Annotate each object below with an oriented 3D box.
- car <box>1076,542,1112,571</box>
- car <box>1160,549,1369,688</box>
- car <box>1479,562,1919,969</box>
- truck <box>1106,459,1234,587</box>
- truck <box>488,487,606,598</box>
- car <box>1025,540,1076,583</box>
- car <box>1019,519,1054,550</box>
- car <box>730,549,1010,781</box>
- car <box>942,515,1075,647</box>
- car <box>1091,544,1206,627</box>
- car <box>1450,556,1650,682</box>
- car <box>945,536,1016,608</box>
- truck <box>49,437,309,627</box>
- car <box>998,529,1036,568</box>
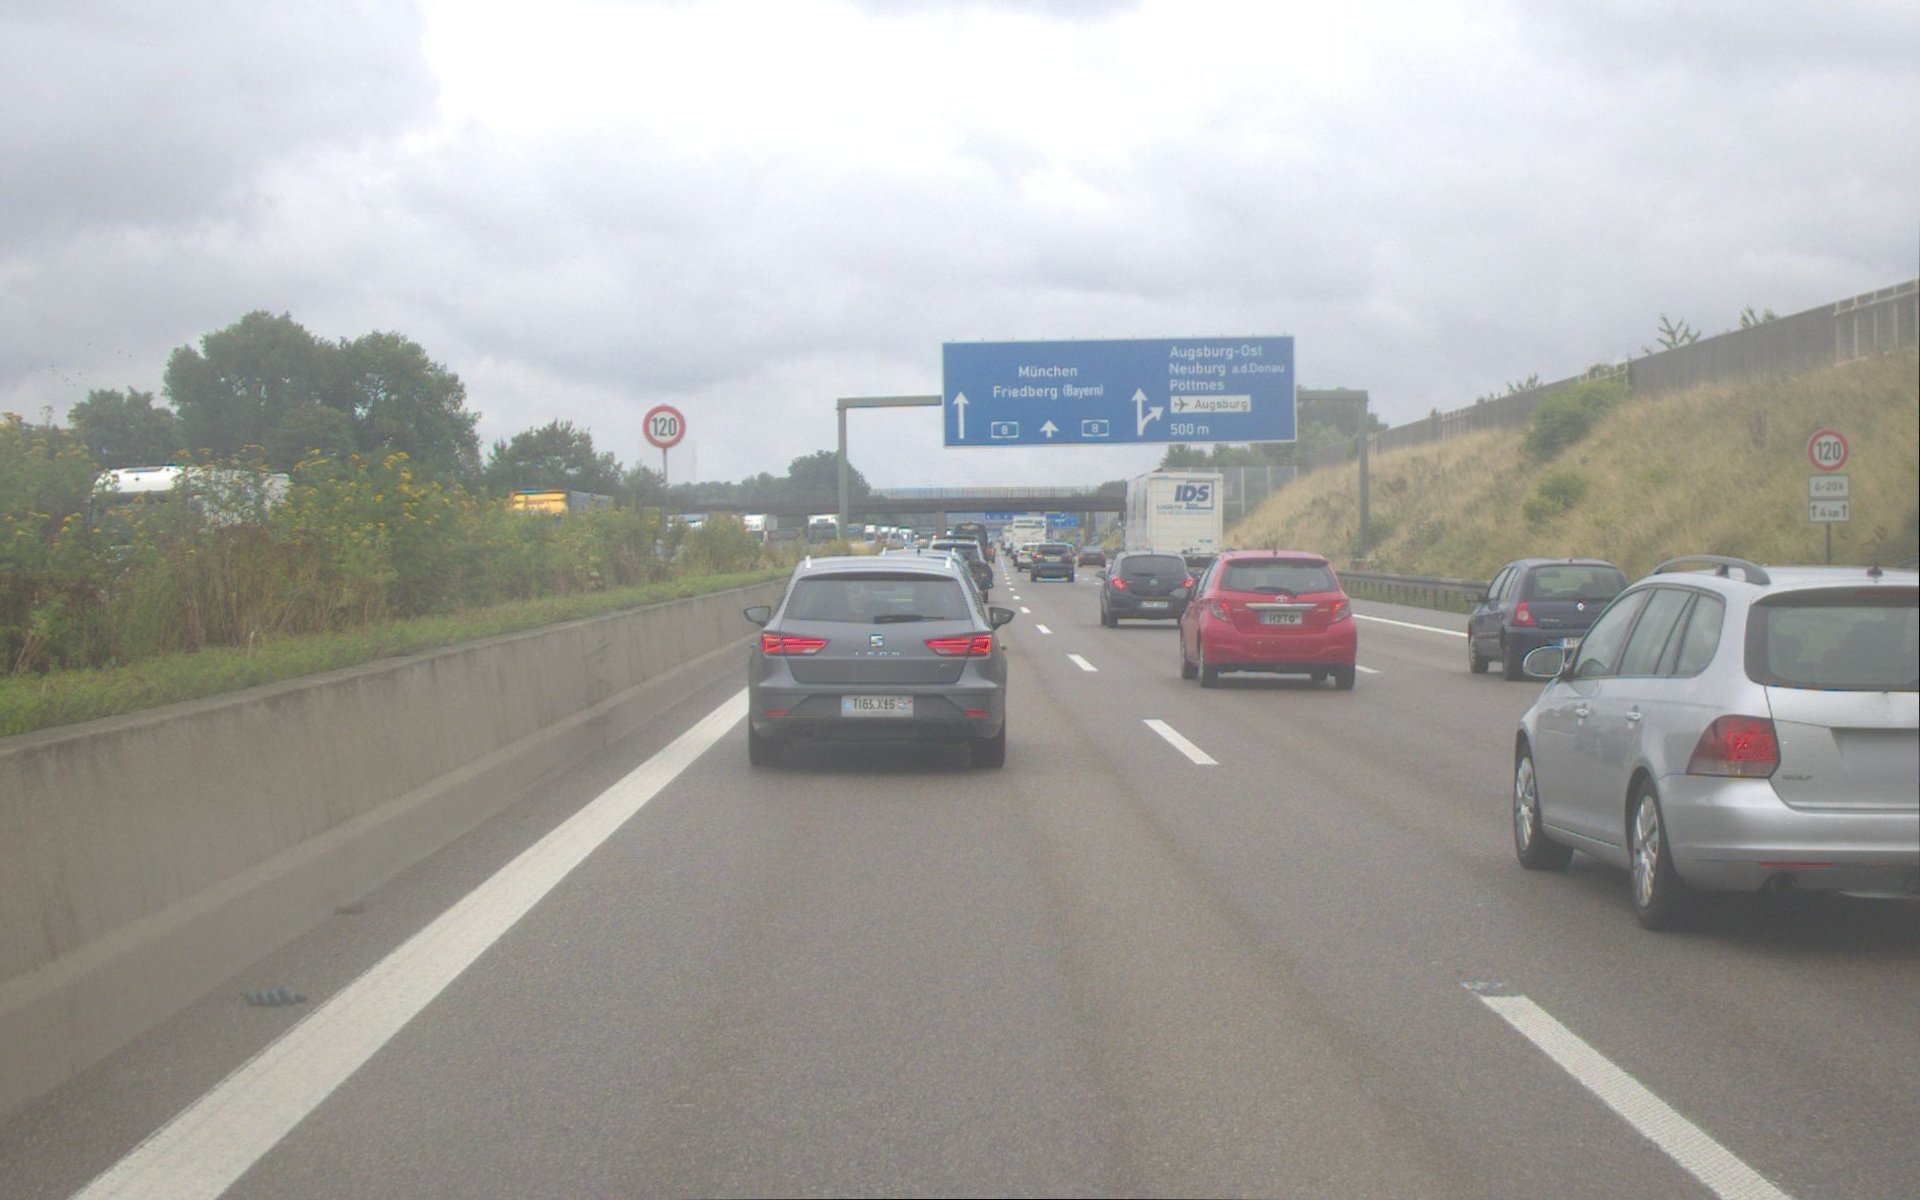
[{"bbox_3d":[8.646,-2.830,222.721,1.993,1.853,4.391,0,1,-2],"label":"car"},{"bbox_3d":[3.343,0.161,38.580,1.891,1.442,4.685,0,1,0],"label":"car"},{"bbox_3d":[3.431,0.571,14.620,1.742,1.420,4.517,-1,1,0],"label":"car"},{"bbox_3d":[7.491,-2.685,125.408,3.283,4.280,19.034,1,1,-1],"label":"truck"},{"bbox_3d":[-16.940,-2.340,141.887,3.412,4.349,10.991,1,1,0],"label":"truck"},{"bbox_3d":[3.629,-1.565,138.519,1.845,1.681,4.000,1,1,-1],"label":"car"},{"bbox_3d":[5.015,-4.308,226.169,1.993,2.007,4.001,-1,1,-3],"label":"car"},{"bbox_3d":[-0.610,0.399,24.060,1.768,1.462,4.000,1,1,-1],"label":"car"},{"bbox_3d":[0.648,-0.277,48.034,1.754,1.744,4.000,1,1,0],"label":"car"},{"bbox_3d":[3.549,-0.304,65.397,1.921,1.516,4.622,0,1,0],"label":"car"},{"bbox_3d":[6.965,0.200,40.913,1.702,1.396,3.875,1,1,0],"label":"car"},{"bbox_3d":[0.524,-0.736,89.745,1.704,1.790,3.855,-2,1,-1],"label":"car"},{"bbox_3d":[-17.480,-1.484,77.844,3.184,3.953,10.810,1,1,1],"label":"truck"},{"bbox_3d":[3.067,-2.750,184.739,1.993,2.007,4.242,1,1,1],"label":"car"}]
